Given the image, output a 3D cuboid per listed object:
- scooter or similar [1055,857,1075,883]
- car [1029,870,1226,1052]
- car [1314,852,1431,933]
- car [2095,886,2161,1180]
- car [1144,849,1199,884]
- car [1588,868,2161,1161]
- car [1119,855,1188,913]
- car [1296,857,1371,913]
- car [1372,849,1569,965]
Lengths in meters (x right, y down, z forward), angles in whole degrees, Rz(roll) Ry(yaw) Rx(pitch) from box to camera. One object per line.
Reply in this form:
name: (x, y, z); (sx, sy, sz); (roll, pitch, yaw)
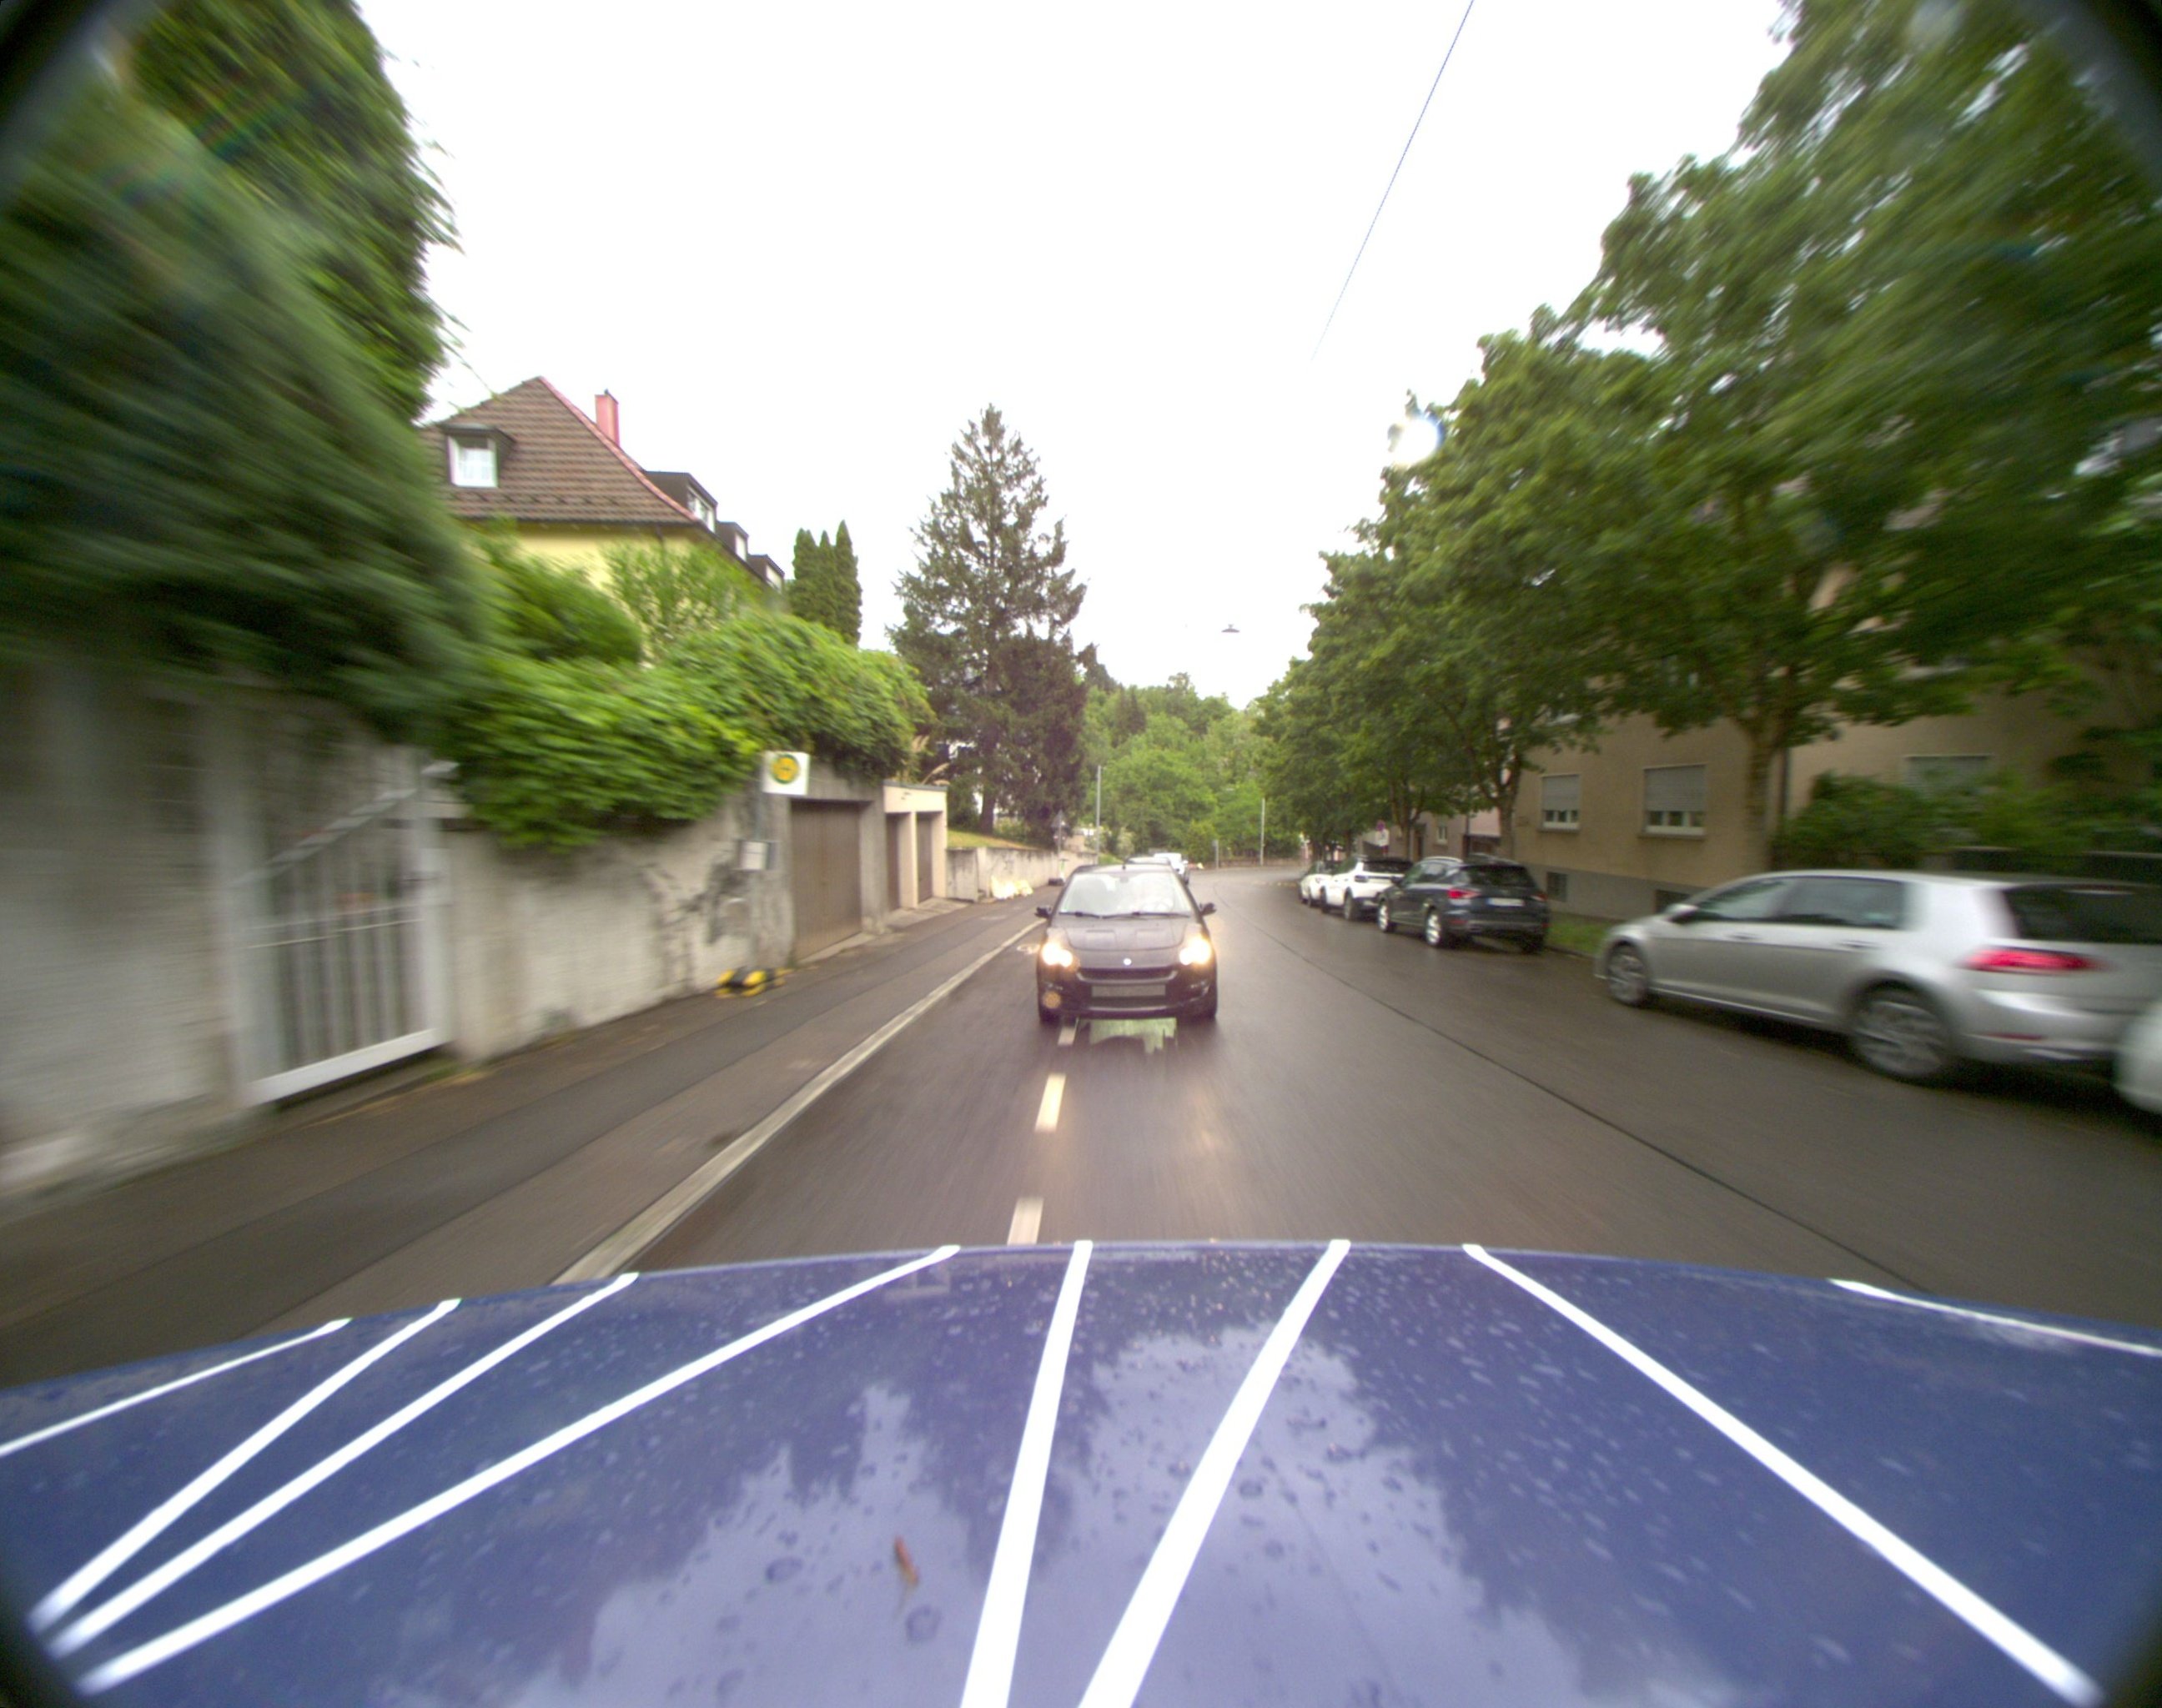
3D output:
scooter or similar: (-0.702, 0.718, 34.109); (0.599, 1.126, 1.371); (2, 1, 11)
car: (0.387, 0.936, 8.033); (1.578, 1.443, 3.588); (-2, -2, 0)
car: (7.248, 0.878, 19.307); (1.595, 1.649, 3.924); (5, 1, 5)
car: (6.221, 0.951, 2.334); (1.578, 1.480, 3.470); (3, 0, 3)
car: (4.688, 0.580, 38.810); (2.010, 1.652, 4.451); (1, 0, 17)
car: (6.295, 0.965, 6.230); (1.622, 1.462, 3.972); (3, 1, 2)
car: (2.112, 0.816, 22.367); (1.806, 1.480, 4.018); (1, 0, 5)
car: (7.911, 0.899, 24.090); (1.620, 1.463, 3.671); (5, 1, 10)
car: (6.763, 0.807, 13.715); (1.621, 1.649, 3.924); (4, 1, 3)
